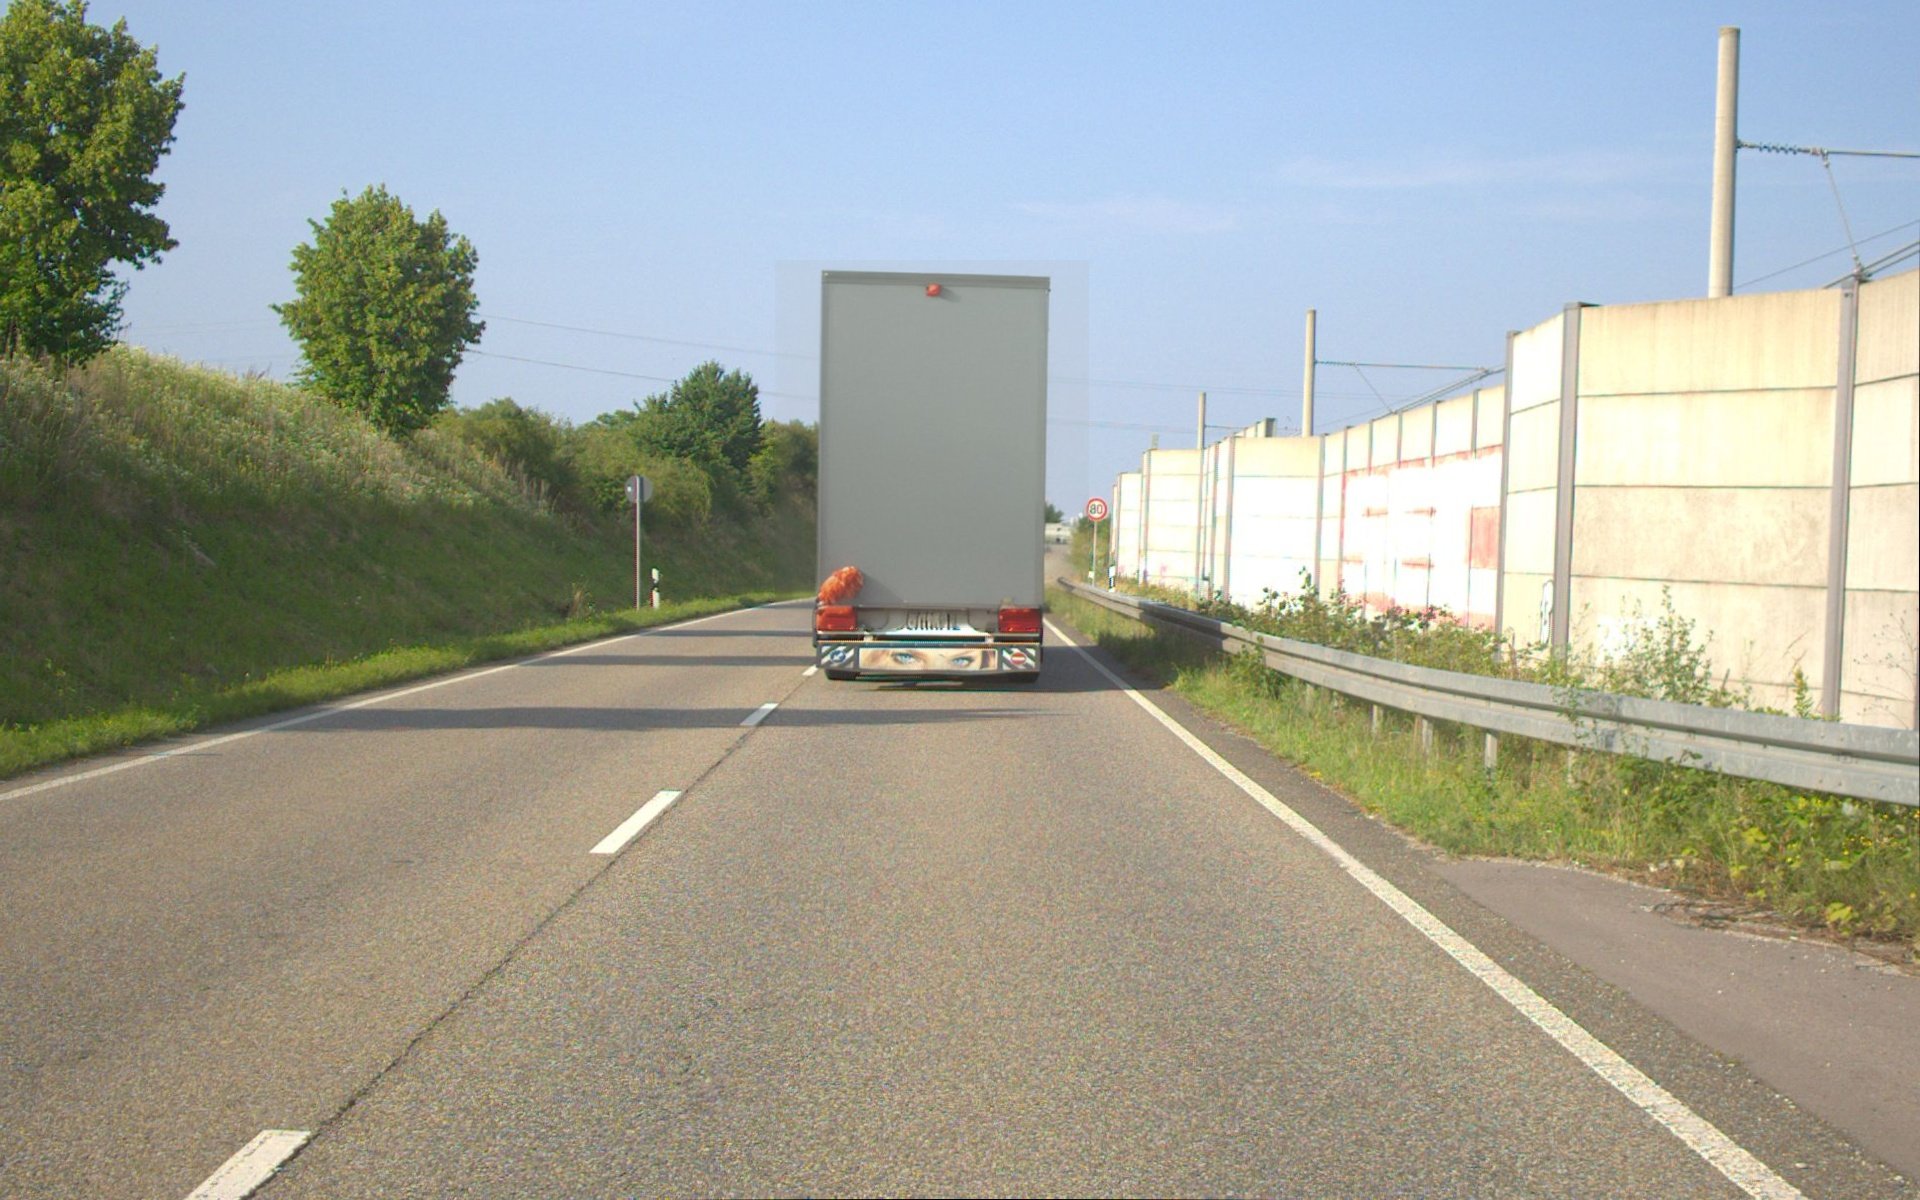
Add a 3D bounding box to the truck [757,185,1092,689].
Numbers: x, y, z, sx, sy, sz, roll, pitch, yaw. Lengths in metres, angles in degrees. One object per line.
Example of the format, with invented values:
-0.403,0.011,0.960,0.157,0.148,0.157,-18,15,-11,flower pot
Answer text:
-0.477,-1.769,41.284,3.290,5.072,12.038,2,1,-1,truck
